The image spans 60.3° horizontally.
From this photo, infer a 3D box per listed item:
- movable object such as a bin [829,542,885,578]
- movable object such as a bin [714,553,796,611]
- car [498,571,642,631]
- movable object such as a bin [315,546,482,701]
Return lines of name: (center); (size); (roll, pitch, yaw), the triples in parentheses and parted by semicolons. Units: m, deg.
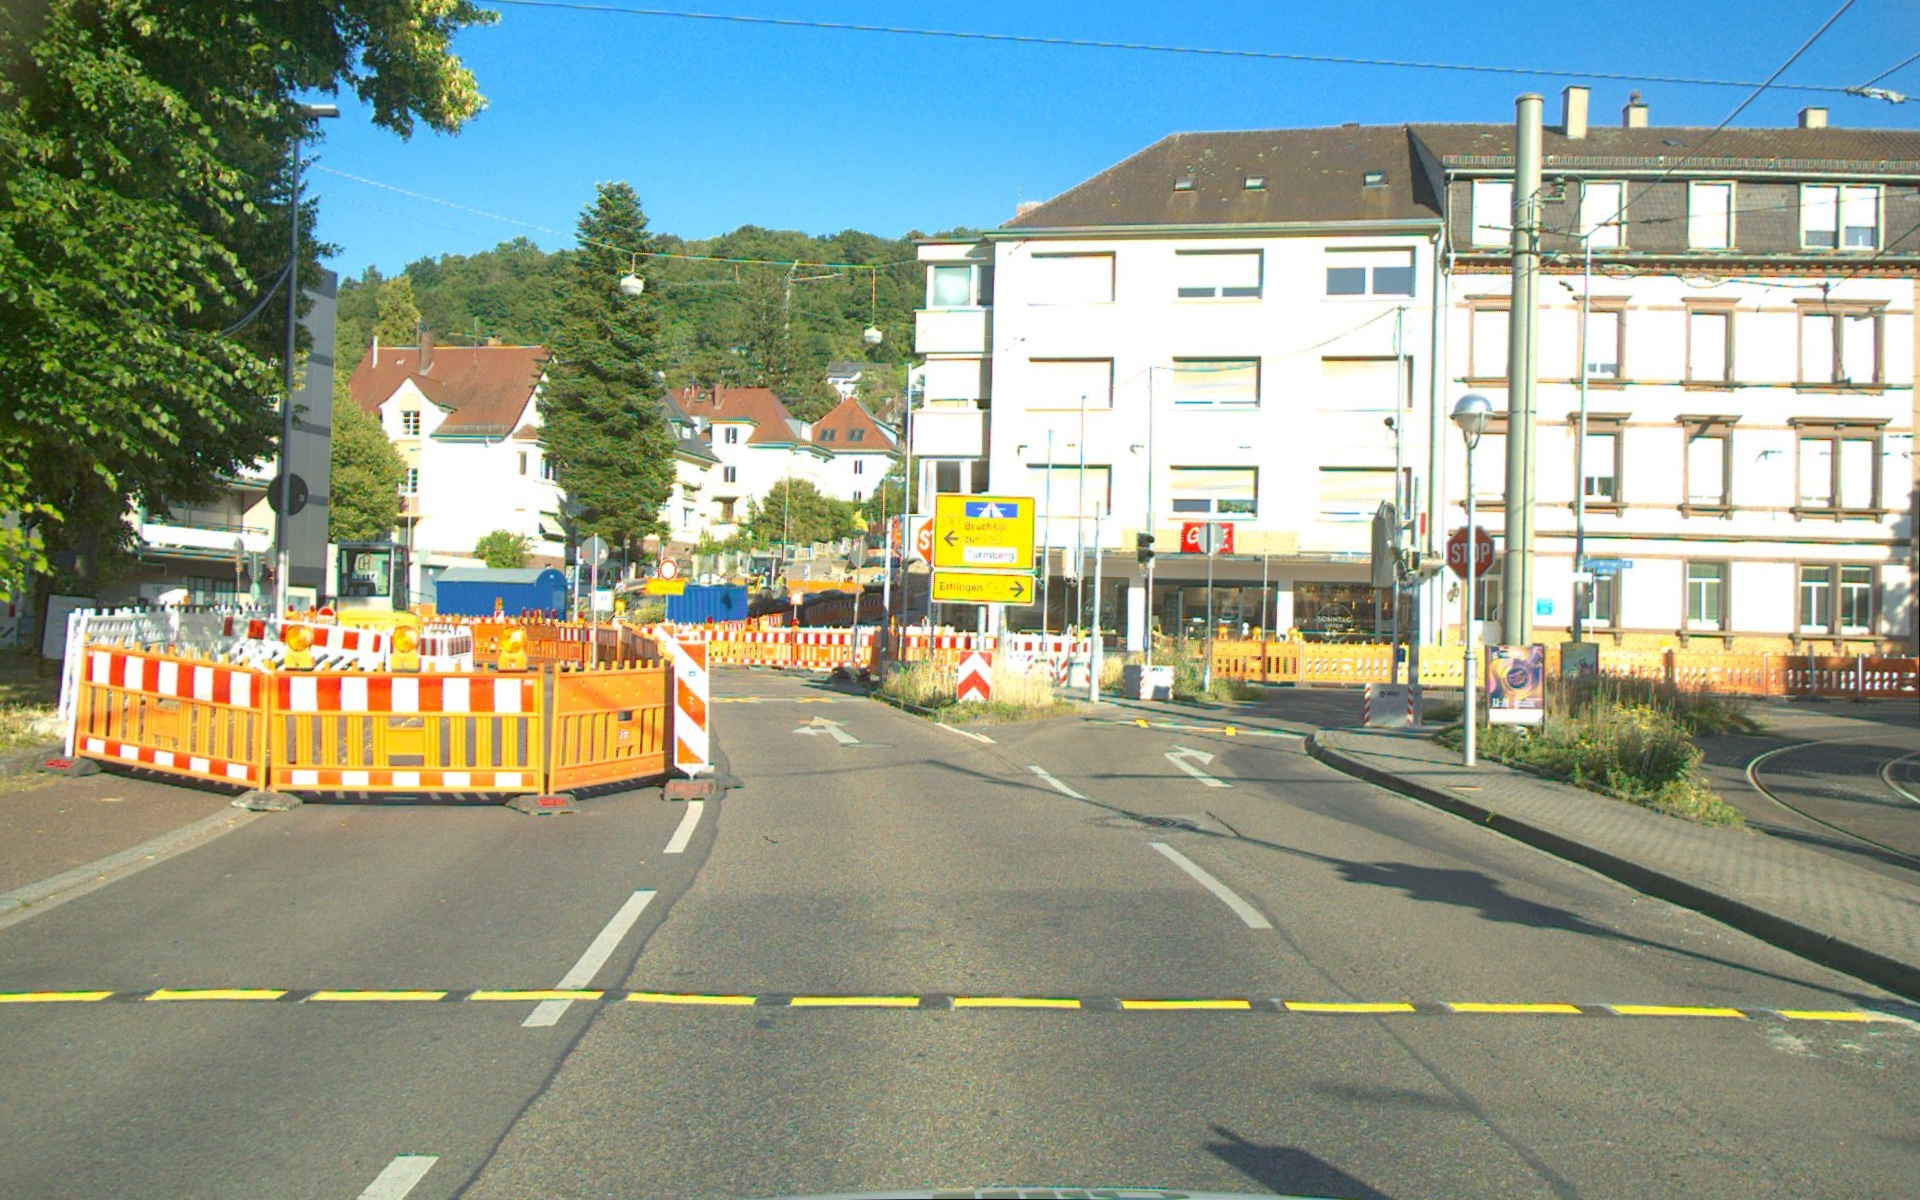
movable object such as a bin: (-6.997, -2.687, 112.870); (2.510, 2.159, 5.789); (1, -1, 10)
movable object such as a bin: (-9.491, -0.812, 76.952); (1.908, 2.538, 4.552); (0, -1, 19)
car: (-15.032, 0.085, 64.267); (2.529, 2.158, 6.152); (0, -1, 19)
movable object such as a bin: (-9.210, 0.378, 27.426); (1.614, 2.365, 3.917); (1, -1, -4)
